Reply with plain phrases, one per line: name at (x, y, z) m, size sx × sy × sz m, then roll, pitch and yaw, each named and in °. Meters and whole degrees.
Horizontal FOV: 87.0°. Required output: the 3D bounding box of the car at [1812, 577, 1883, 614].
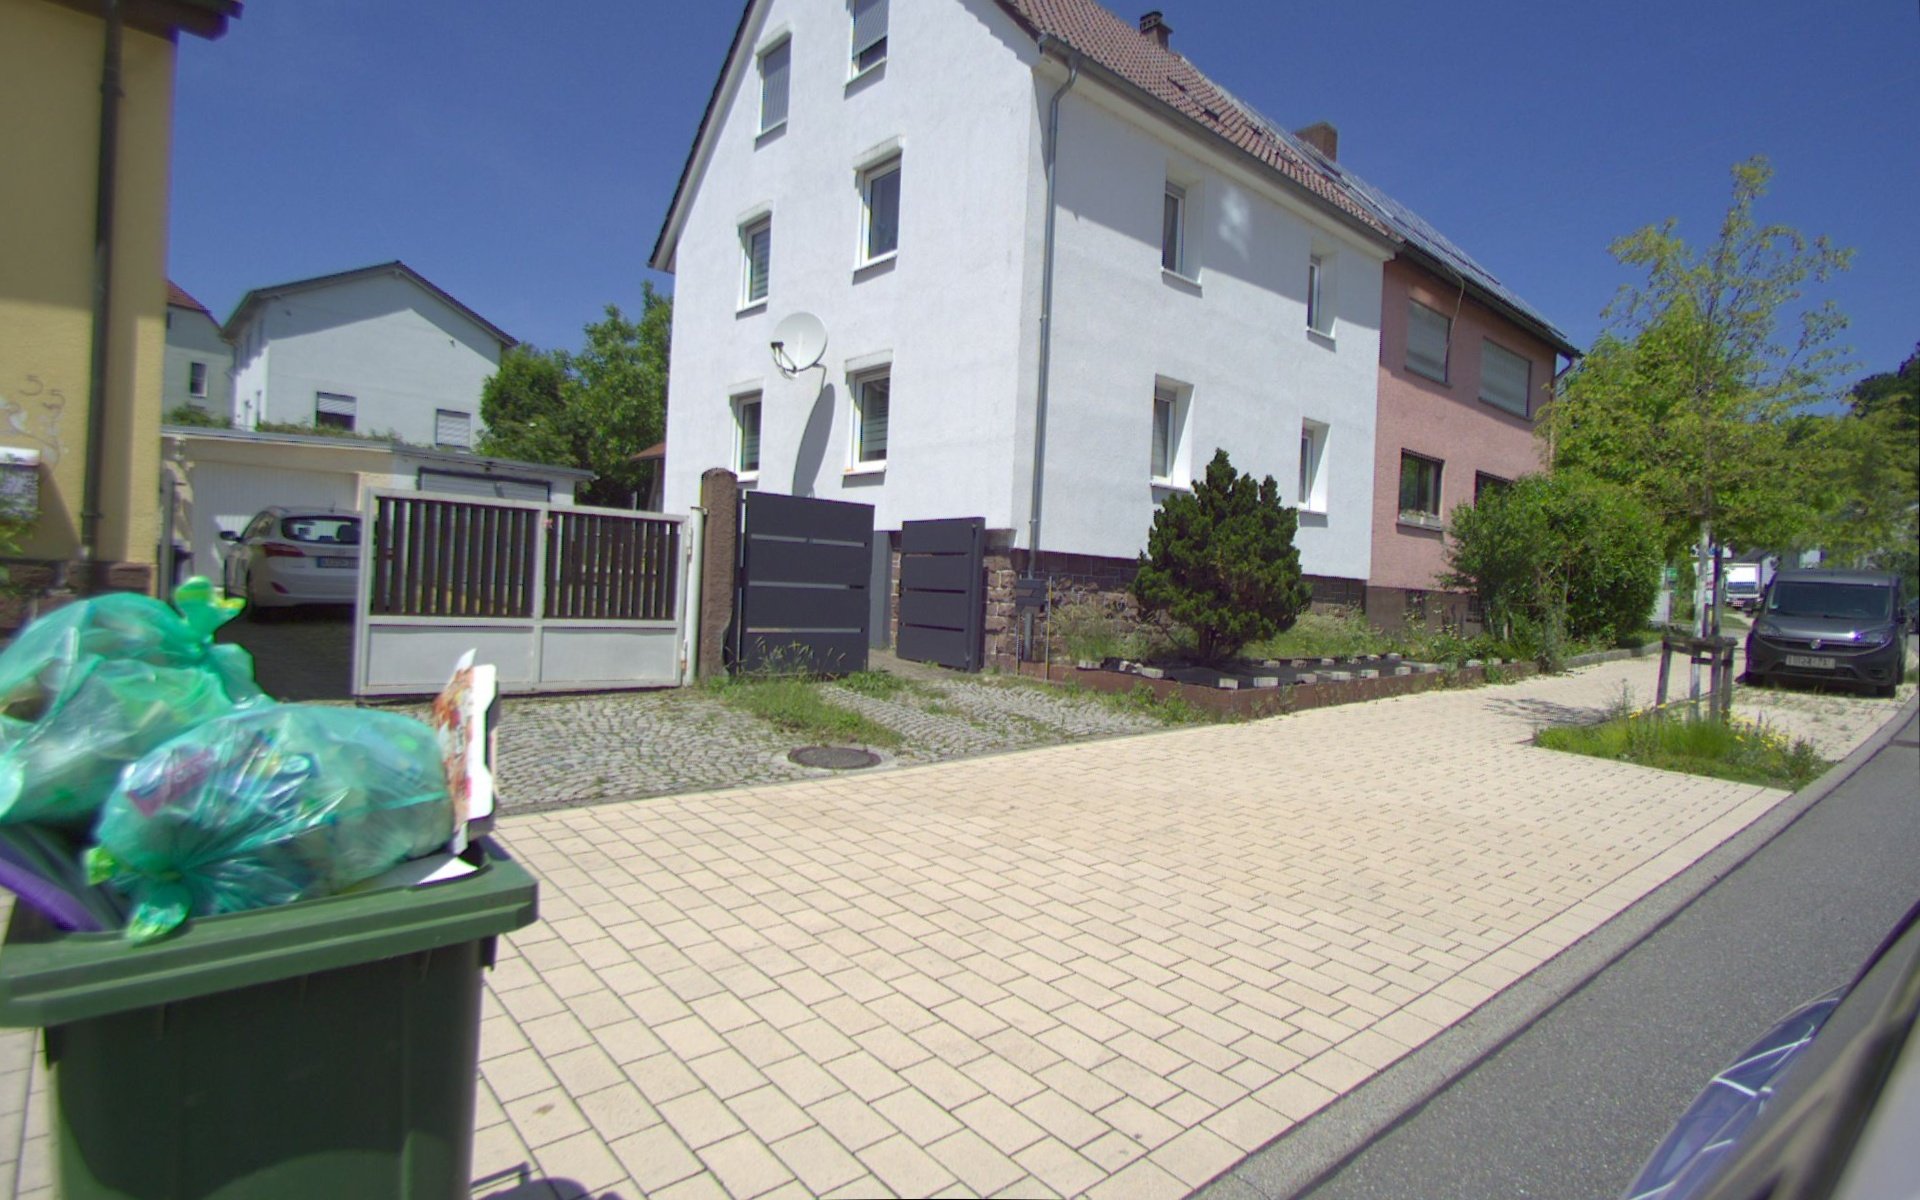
car at (47.421, -0.278, 54.181) m, size 1.954 × 1.856 × 4.417 m, roll 3°, pitch 2°, yaw 30°

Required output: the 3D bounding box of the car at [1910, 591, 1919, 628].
car at (37.122, 0.385, 37.781) m, size 1.900 × 1.366 × 3.947 m, roll 2°, pitch 2°, yaw 37°

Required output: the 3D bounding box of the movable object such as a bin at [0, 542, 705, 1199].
movable object such as a bin at (-0.996, 0.651, 1.447) m, size 0.910 × 1.412 × 0.793 m, roll 0°, pitch 5°, yaw -43°

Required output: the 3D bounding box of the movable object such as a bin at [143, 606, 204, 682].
movable object such as a bin at (-6.357, 0.346, 8.181) m, size 0.368 × 0.578 × 0.454 m, roll 0°, pitch 1°, yaw -40°

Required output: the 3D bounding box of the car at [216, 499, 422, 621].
car at (-9.176, -0.570, 14.339) m, size 1.886 × 1.458 × 4.157 m, roll 0°, pitch 2°, yaw -41°

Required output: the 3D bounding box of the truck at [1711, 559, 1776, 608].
truck at (58.252, -1.226, 75.382) m, size 2.785 × 3.456 × 8.031 m, roll 1°, pitch 1°, yaw 31°

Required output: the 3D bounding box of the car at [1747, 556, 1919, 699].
car at (13.947, 0.336, 15.870) m, size 4.594 × 1.865 × 1.857 m, roll 0°, pitch 4°, yaw -45°
